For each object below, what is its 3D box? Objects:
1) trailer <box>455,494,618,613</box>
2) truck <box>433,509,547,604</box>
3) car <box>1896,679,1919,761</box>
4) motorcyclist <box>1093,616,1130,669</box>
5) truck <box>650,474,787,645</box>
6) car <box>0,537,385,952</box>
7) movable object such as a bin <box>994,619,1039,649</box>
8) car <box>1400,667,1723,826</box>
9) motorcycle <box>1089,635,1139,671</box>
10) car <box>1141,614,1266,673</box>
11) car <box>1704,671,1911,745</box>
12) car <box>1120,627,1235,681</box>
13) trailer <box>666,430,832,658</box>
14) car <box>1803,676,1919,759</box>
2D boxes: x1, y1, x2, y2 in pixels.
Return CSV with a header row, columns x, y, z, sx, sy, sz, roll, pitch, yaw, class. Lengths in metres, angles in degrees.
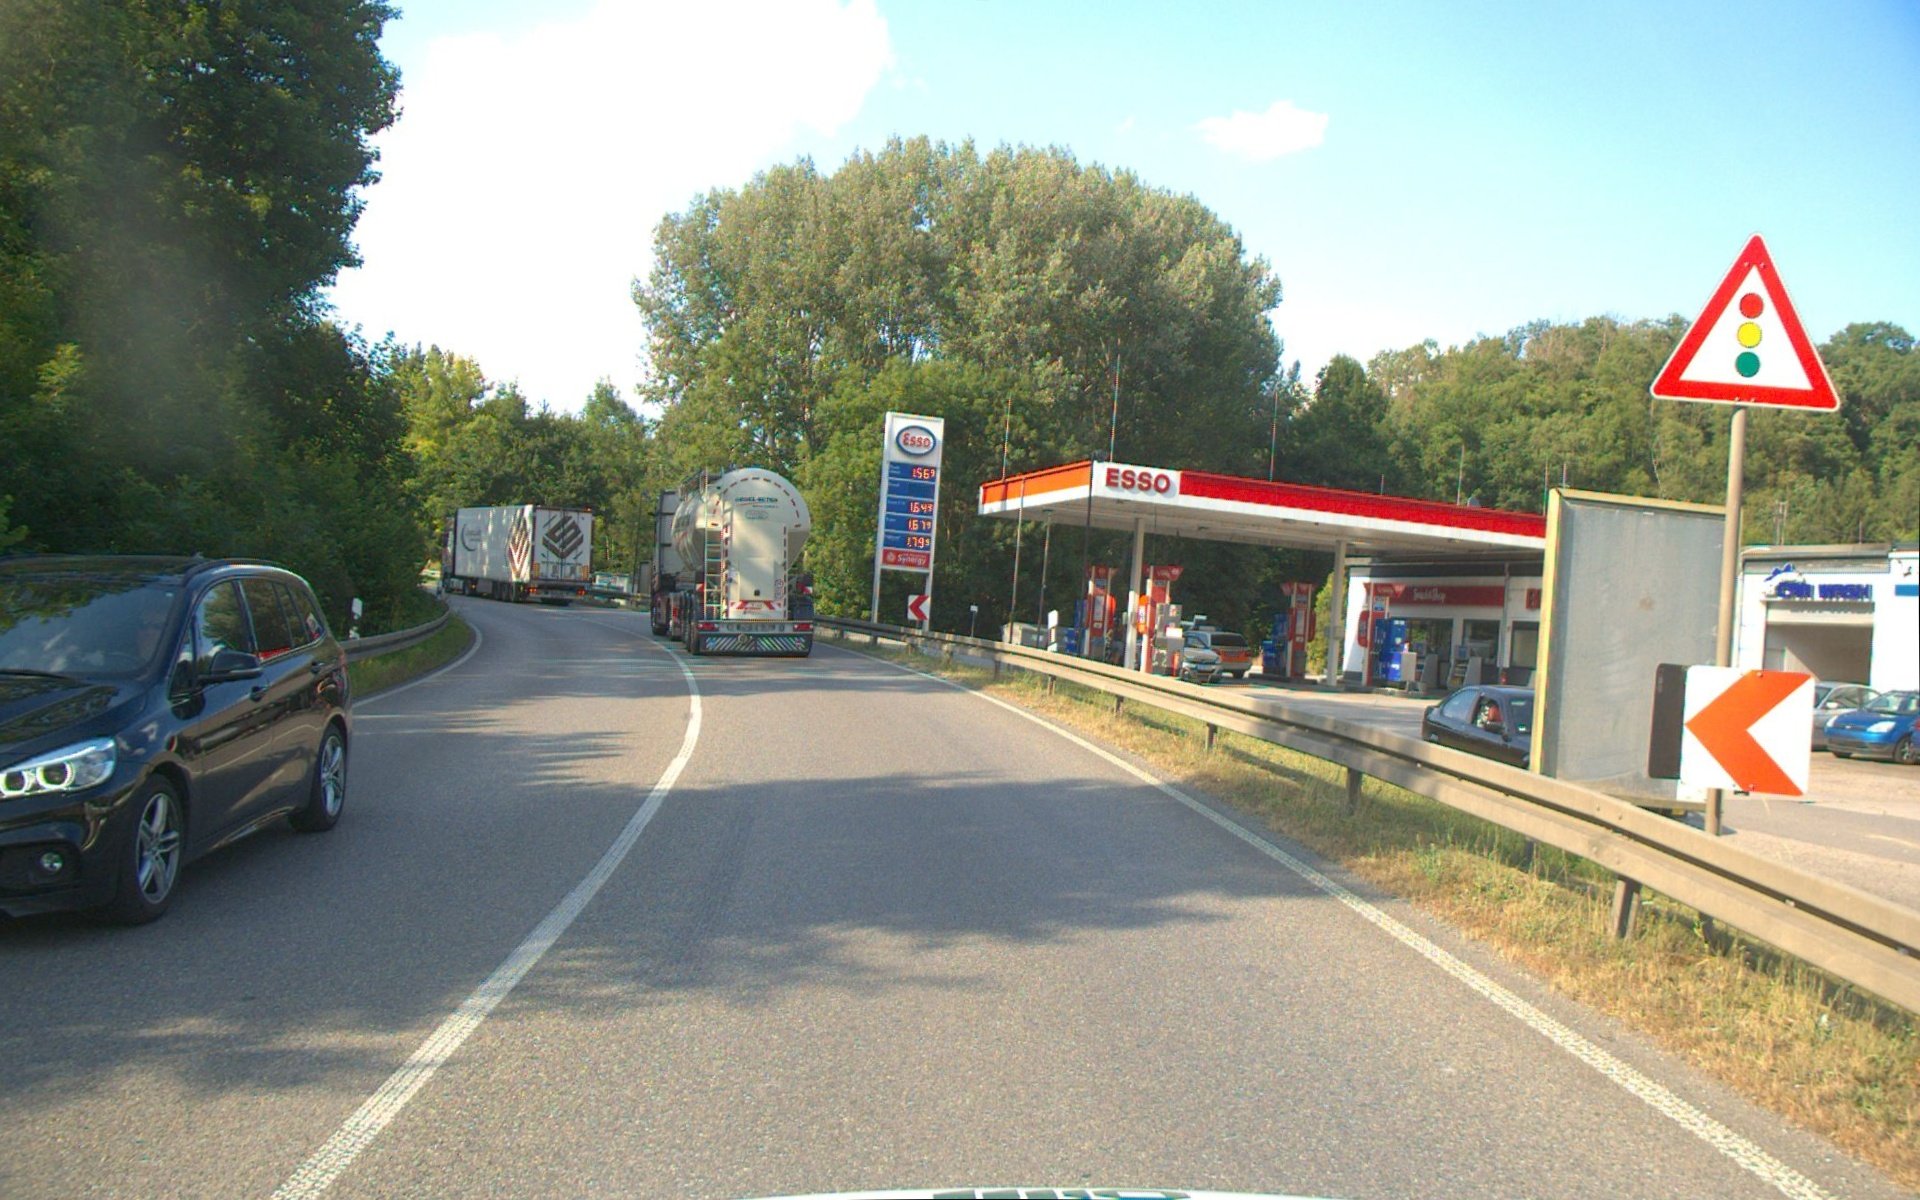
x,y,z,sx,sy,sz,roll,pitch,yaw,class
-18.856,-2.053,72.662,3.508,4.591,12.857,4,0,-29,trailer
-22.558,-2.082,79.170,3.417,4.157,6.420,4,0,-32,truck
19.422,2.342,30.602,3.488,1.470,1.726,4,0,-17,car
4.922,1.387,53.772,0.845,1.632,0.923,4,-1,-17,motorcyclist
-6.422,-1.000,43.221,2.778,4.105,5.870,1,0,-15,truck
-4.440,0.544,8.497,1.831,1.617,4.243,1,0,-6,car
3.171,1.879,92.708,1.253,1.444,2.531,7,-2,-31,movable object such as a bin
6.914,1.636,19.541,1.790,1.376,4.266,3,0,-7,car
4.965,1.702,53.538,0.749,1.029,2.330,4,0,-17,motorcycle
8.101,1.426,55.645,2.060,1.656,5.155,4,0,-18,car
17.988,2.290,35.133,3.900,1.378,1.766,2,0,-22,car
6.551,1.613,50.387,1.813,1.342,4.370,4,0,-16,car
-5.092,-1.148,38.195,2.837,4.532,9.574,1,0,-13,trailer
18.733,2.347,32.661,3.494,1.431,1.683,4,0,-17,car
